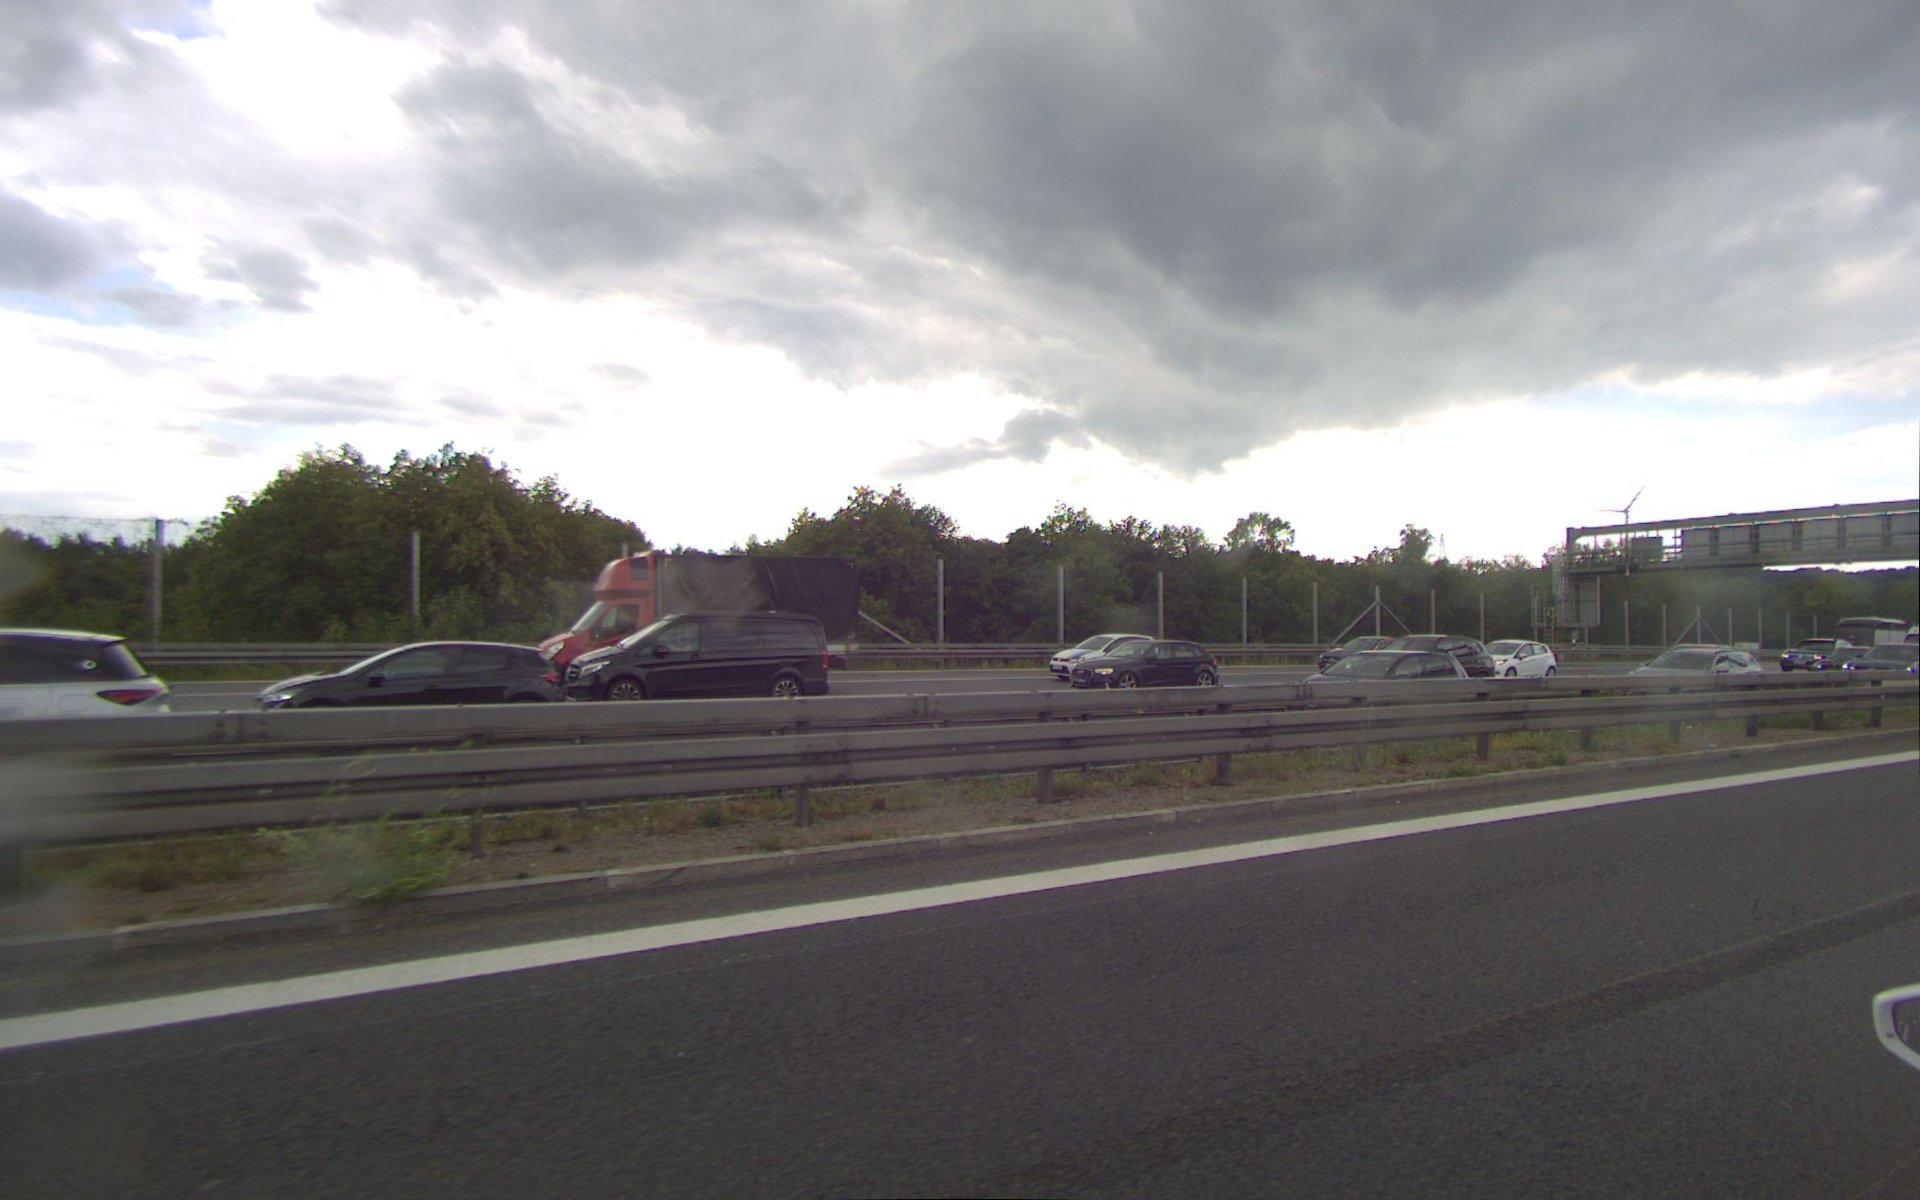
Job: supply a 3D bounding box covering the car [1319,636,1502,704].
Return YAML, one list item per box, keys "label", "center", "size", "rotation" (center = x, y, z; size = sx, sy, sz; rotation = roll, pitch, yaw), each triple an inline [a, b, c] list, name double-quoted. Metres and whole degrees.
- label: "car"
  center: [11.920, 1.788, 26.459]
  size: [5.077, 1.619, 1.872]
  rotation: [2, -1, -31]

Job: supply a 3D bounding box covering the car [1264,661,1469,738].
- label: "car"
  center: [8.201, 1.938, 20.175]
  size: [4.139, 1.306, 1.694]
  rotation: [2, -1, -31]

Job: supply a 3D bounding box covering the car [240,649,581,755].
- label: "car"
  center: [-7.895, 1.398, 14.714]
  size: [4.139, 1.306, 1.694]
  rotation: [2, -1, -31]

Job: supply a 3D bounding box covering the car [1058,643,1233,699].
- label: "car"
  center: [4.832, 1.790, 25.905]
  size: [4.550, 1.299, 1.575]
  rotation: [2, -1, -31]

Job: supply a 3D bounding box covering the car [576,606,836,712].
- label: "car"
  center: [-4.980, 1.128, 19.988]
  size: [4.765, 1.915, 1.575]
  rotation: [2, -1, -31]

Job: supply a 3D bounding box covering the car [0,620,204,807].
- label: "car"
  center: [-10.109, 1.020, 9.358]
  size: [4.668, 1.669, 1.863]
  rotation: [2, -1, -31]

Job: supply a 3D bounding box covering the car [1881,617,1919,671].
- label: "car"
  center: [47.331, 2.143, 48.835]
  size: [5.996, 2.521, 2.192]
  rotation: [2, -1, -31]

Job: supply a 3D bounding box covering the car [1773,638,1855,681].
- label: "car"
  center: [42.424, 2.928, 49.893]
  size: [3.955, 2.040, 1.983]
  rotation: [2, -1, -31]

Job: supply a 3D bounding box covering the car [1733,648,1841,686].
- label: "car"
  center: [33.018, 2.624, 40.079]
  size: [5.071, 1.375, 1.790]
  rotation: [2, -1, -31]

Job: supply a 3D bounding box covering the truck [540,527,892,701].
- label: "truck"
  center: [-5.617, 0.399, 23.848]
  size: [7.718, 3.583, 2.451]
  rotation: [2, -1, -31]

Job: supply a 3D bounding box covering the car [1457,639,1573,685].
- label: "car"
  center: [19.346, 2.136, 34.963]
  size: [4.366, 1.466, 1.613]
  rotation: [2, -1, -31]

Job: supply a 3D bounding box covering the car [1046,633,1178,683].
- label: "car"
  center: [4.750, 1.777, 31.233]
  size: [3.957, 1.445, 1.575]
  rotation: [2, -1, -31]

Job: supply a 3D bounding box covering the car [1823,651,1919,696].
- label: "car"
  center: [31.859, 2.463, 34.346]
  size: [5.197, 1.375, 2.068]
  rotation: [2, -1, -31]

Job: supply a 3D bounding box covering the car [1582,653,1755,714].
- label: "car"
  center: [18.259, 2.078, 25.830]
  size: [4.889, 1.358, 1.880]
  rotation: [2, -1, -31]

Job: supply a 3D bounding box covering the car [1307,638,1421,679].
- label: "car"
  center: [15.208, 2.180, 37.775]
  size: [4.292, 1.445, 1.753]
  rotation: [2, -1, -31]

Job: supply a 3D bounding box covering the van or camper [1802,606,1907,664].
- label: "van or camper"
  center: [46.903, 1.834, 52.654]
  size: [6.146, 2.885, 2.569]
  rotation: [2, -1, -33]

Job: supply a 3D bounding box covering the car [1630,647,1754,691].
- label: "car"
  center: [25.373, 2.356, 34.785]
  size: [4.512, 1.358, 1.880]
  rotation: [2, -1, -31]
